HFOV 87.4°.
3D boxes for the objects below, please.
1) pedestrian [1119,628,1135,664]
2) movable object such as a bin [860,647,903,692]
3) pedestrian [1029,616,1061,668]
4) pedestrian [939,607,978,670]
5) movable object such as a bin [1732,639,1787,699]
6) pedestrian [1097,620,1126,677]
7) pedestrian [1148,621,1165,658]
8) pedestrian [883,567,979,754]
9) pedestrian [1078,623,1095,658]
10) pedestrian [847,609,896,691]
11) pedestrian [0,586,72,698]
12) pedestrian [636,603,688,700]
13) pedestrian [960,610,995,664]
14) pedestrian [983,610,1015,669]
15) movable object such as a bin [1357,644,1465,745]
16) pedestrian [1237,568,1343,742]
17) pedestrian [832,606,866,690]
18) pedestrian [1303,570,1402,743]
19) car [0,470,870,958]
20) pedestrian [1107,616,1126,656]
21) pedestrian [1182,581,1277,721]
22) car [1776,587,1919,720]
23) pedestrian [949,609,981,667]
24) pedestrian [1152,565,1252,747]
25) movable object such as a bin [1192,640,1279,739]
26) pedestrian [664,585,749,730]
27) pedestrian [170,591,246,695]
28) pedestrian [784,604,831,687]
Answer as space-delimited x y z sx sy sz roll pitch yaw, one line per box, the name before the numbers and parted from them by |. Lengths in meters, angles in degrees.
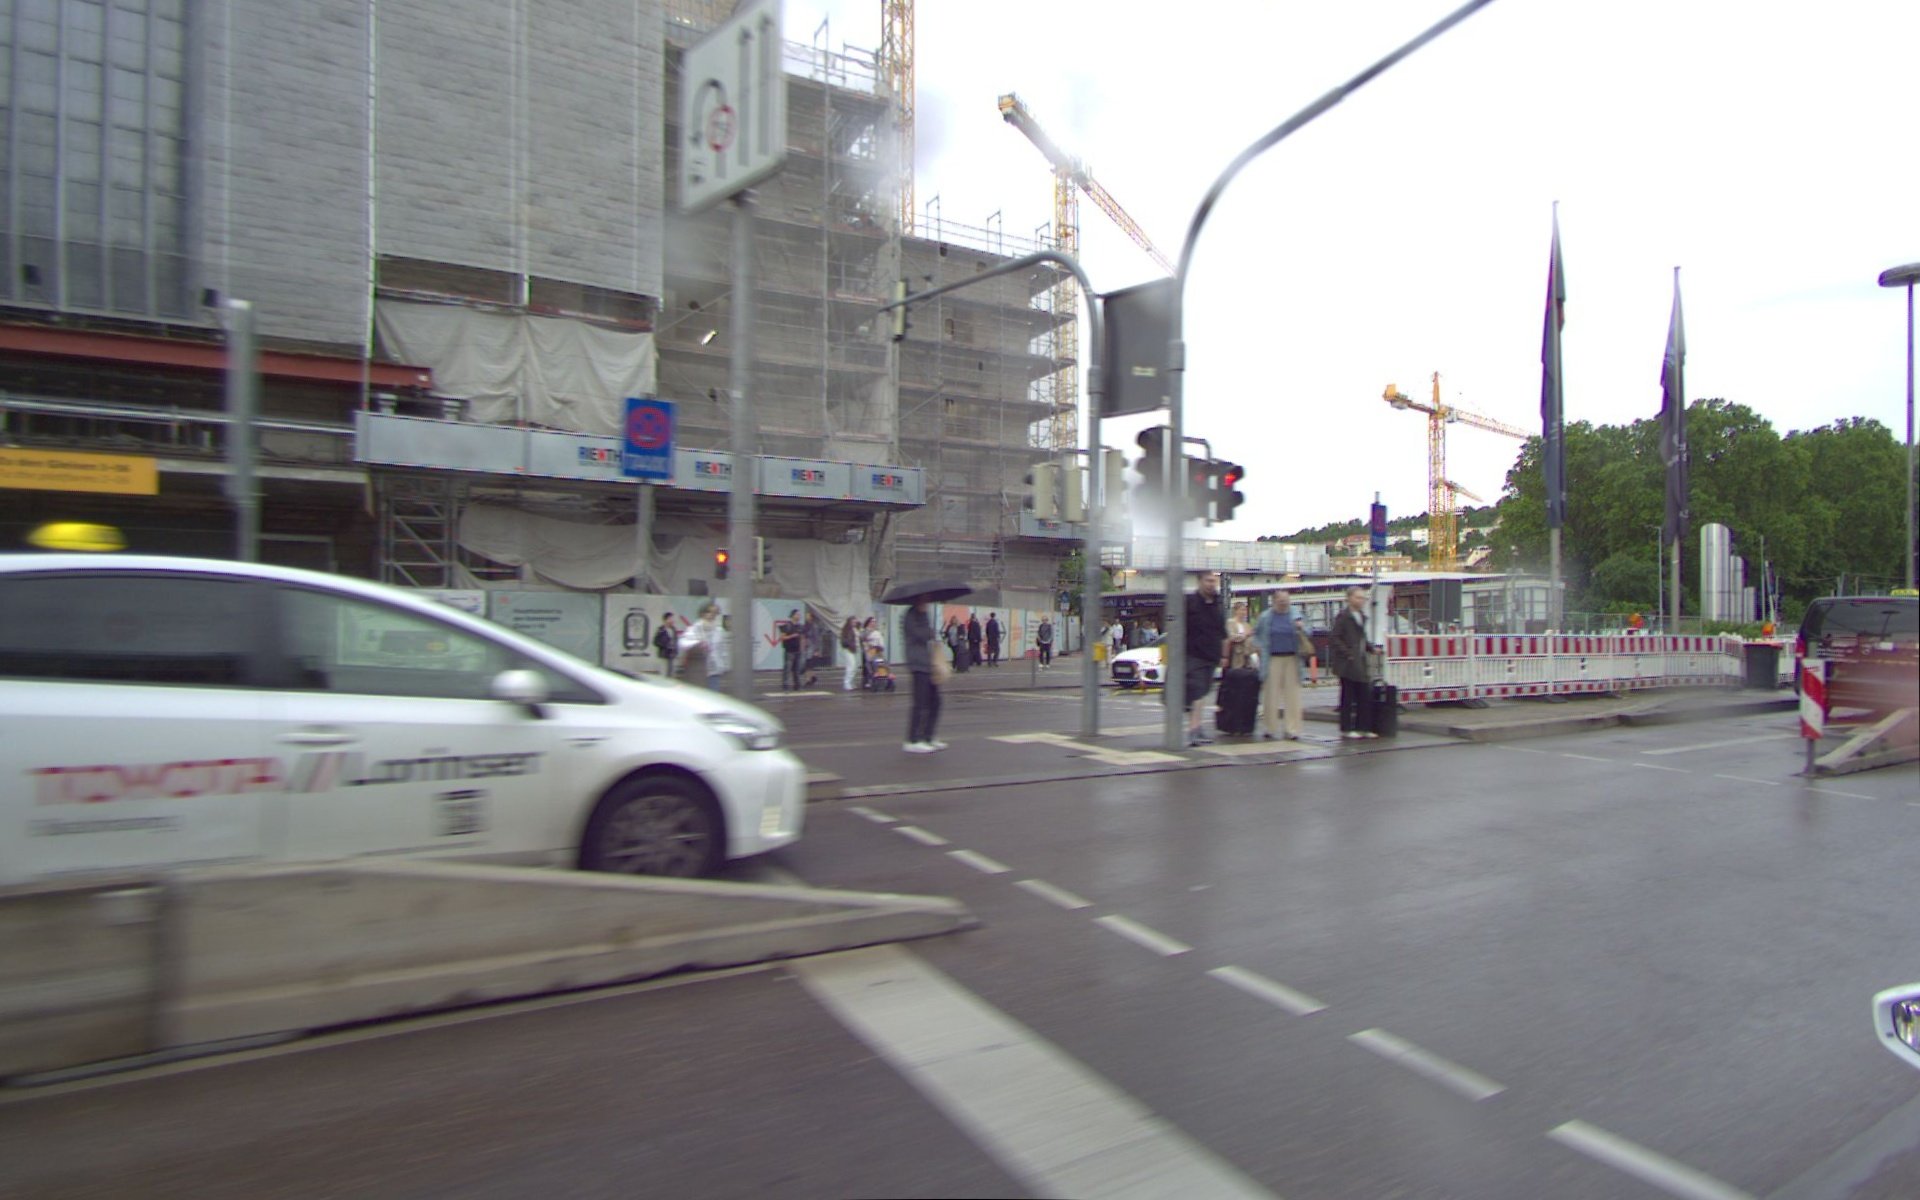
pedestrian | 8.802 2.420 52.859 0.718 1.906 0.640 1 -2 0
movable object such as a bin | -1.775 1.566 22.768 0.712 0.983 0.755 1 -1 -31
pedestrian | 2.836 1.402 33.530 1.007 1.685 0.837 1 -2 6
pedestrian | -0.040 1.123 29.628 0.965 1.812 0.834 2 -2 -13
movable object such as a bin | 16.510 1.415 20.754 0.760 1.177 0.666 2 1 -36
pedestrian | 5.150 1.659 34.223 0.843 1.906 0.717 1 -2 0
pedestrian | 10.278 2.039 52.467 0.780 1.906 0.494 1 -2 0
pedestrian | -0.289 0.577 9.861 0.747 1.758 0.580 1 -1 -29
pedestrian | 6.796 2.181 54.105 0.788 1.906 0.659 1 -2 0
pedestrian | -2.069 1.163 23.455 0.868 1.865 0.694 2 0 -31
pedestrian | -15.959 0.705 17.197 0.925 1.865 0.815 1 -1 -29
pedestrian | -5.912 1.006 19.943 0.628 1.865 0.775 0 -1 24
pedestrian | 0.640 1.317 35.783 1.007 1.906 0.836 1 -2 18
pedestrian | 1.313 1.326 33.731 1.007 1.906 0.836 1 -2 2
movable object such as a bin | 5.242 1.080 11.730 0.735 1.091 1.006 1 -1 -7
pedestrian | 3.787 0.623 11.592 0.802 1.911 1.006 1 -1 -7
pedestrian | -2.530 1.086 22.839 0.522 1.865 0.694 1 -1 -31
pedestrian | 4.533 0.637 11.655 0.670 1.911 1.006 1 -1 -7
car | -2.902 0.435 4.797 4.610 1.708 1.778 2 -1 -30
pedestrian | 7.533 1.746 48.274 0.785 1.906 0.662 1 -2 0
pedestrian | 3.841 0.711 14.339 1.015 1.906 0.830 1 0 -27
car | 15.230 0.820 16.040 5.009 1.870 1.982 2 0 -33
pedestrian | 0.191 1.296 34.005 1.007 1.906 0.836 1 -2 2
pedestrian | 2.669 0.597 11.079 0.685 1.911 0.823 1 -1 -39
movable object such as a bin | 3.173 1.017 11.609 0.735 1.091 0.744 1 -1 -7
pedestrian | -3.084 0.678 12.221 0.827 1.686 0.710 1 -1 -29
pedestrian | -13.841 0.788 18.514 0.982 1.865 0.723 1 -1 -29
pedestrian | -3.511 1.038 23.126 1.022 1.865 0.985 1 -1 -8
